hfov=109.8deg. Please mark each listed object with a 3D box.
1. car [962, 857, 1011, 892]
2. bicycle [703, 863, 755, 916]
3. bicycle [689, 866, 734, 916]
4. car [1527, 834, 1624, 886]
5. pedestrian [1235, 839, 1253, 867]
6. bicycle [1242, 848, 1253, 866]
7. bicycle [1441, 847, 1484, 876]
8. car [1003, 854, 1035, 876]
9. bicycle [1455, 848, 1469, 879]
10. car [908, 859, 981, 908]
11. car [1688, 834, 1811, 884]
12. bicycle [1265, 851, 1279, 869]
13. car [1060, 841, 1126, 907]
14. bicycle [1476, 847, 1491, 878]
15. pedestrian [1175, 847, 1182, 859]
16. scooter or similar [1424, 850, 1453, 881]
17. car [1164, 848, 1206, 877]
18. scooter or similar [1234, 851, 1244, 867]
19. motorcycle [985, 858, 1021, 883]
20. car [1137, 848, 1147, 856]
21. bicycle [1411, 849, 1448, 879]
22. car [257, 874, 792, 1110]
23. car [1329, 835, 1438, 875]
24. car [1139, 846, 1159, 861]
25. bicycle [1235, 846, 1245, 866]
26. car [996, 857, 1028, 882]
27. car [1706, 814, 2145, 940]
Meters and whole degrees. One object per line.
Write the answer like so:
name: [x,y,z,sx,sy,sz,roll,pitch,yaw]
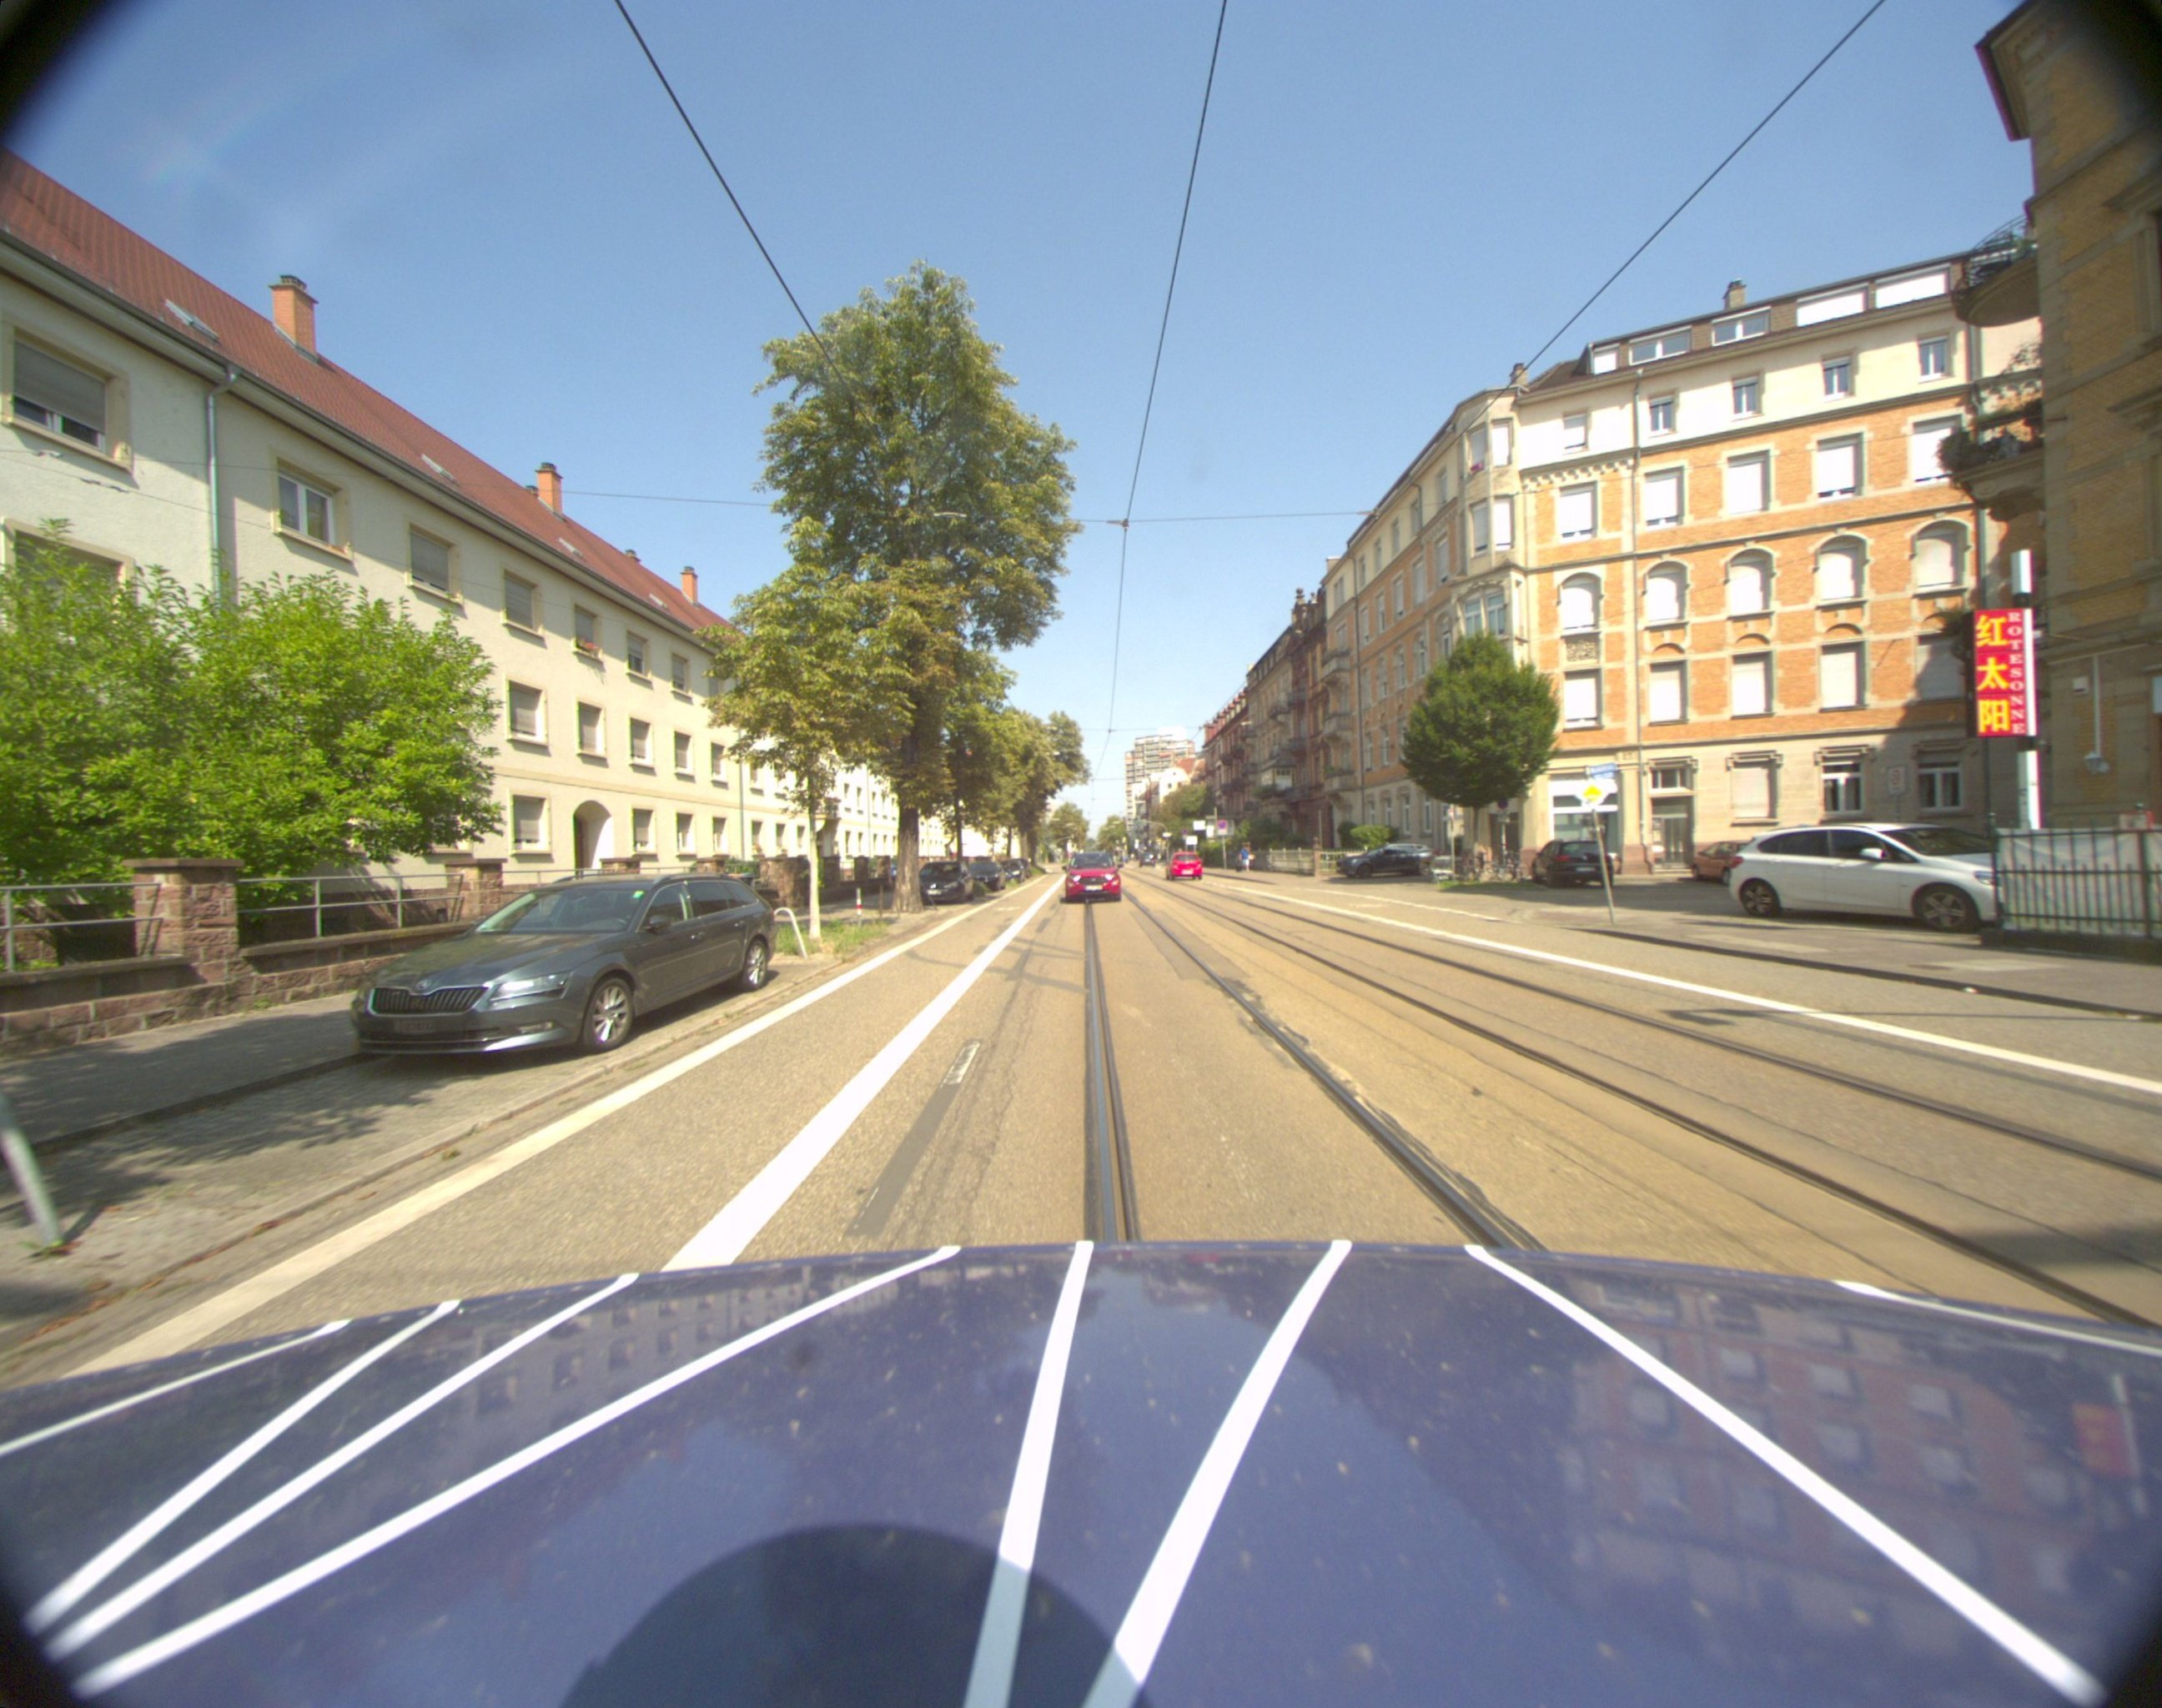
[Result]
car: [-4.528,0.955,37.107,1.760,1.469,4.457,2,1,1]
bicycle: [-9.545,0.944,20.655,0.457,1.326,1.892,-1,1,1]
bicycle: [-10.002,0.974,20.619,0.403,1.250,1.580,-1,1,1]
car: [17.216,0.172,26.681,1.995,1.679,4.365,-1,1,21]
pedestrian: [10.461,-0.045,48.755,0.885,1.746,0.870,-2,1,0]
bicycle: [11.156,0.200,50.898,0.391,1.141,1.582,-2,0,1]
bicycle: [15.058,0.286,30.007,1.449,1.092,0.391,-2,0,11]
car: [-4.546,0.821,56.008,1.620,1.521,3.500,-1,1,7]
bicycle: [14.141,0.342,28.229,0.389,1.092,1.454,-2,0,26]
car: [-4.669,0.972,26.577,1.760,1.468,4.386,-2,0,0]
car: [22.005,0.117,25.210,1.846,1.468,3.763,-1,2,20]
bicycle: [11.283,0.343,44.933,0.391,1.032,1.833,-2,0,1]
car: [0.407,0.570,23.942,1.803,1.801,4.416,-3,0,2]
bicycle: [14.748,0.310,27.849,0.389,1.092,1.454,-2,0,26]
pedestrian: [17.351,-0.189,135.047,1.094,2.002,1.036,-3,1,0]
scooter or similar: [13.290,0.408,28.284,0.597,1.092,1.390,-2,0,11]
car: [5.663,0.432,41.950,1.736,1.481,4.000,-1,0,0]
scooter or similar: [10.205,0.312,49.136,0.401,0.977,0.584,-3,1,-7]
motorcycle: [-4.488,0.950,43.974,2.009,1.360,0.782,-2,1,-2]
car: [13.575,-0.484,168.612,1.998,1.716,4.631,-1,0,1]
bicycle: [13.585,0.383,29.621,1.453,1.092,0.390,-2,0,-22]
car: [-4.873,1.049,7.823,1.897,1.469,4.839,-2,0,0]
car: [13.567,0.049,34.225,4.111,1.585,1.879,-3,1,2]
car: [7.488,-0.054,84.135,1.832,1.531,4.000,-1,0,0]
bicycle: [11.433,0.122,54.587,0.391,1.398,1.582,-2,0,1]
car: [-4.307,0.969,48.024,1.621,1.468,4.039,0,0,1]
car: [12.763,0.280,12.025,1.999,1.585,4.358,-2,1,-3]
